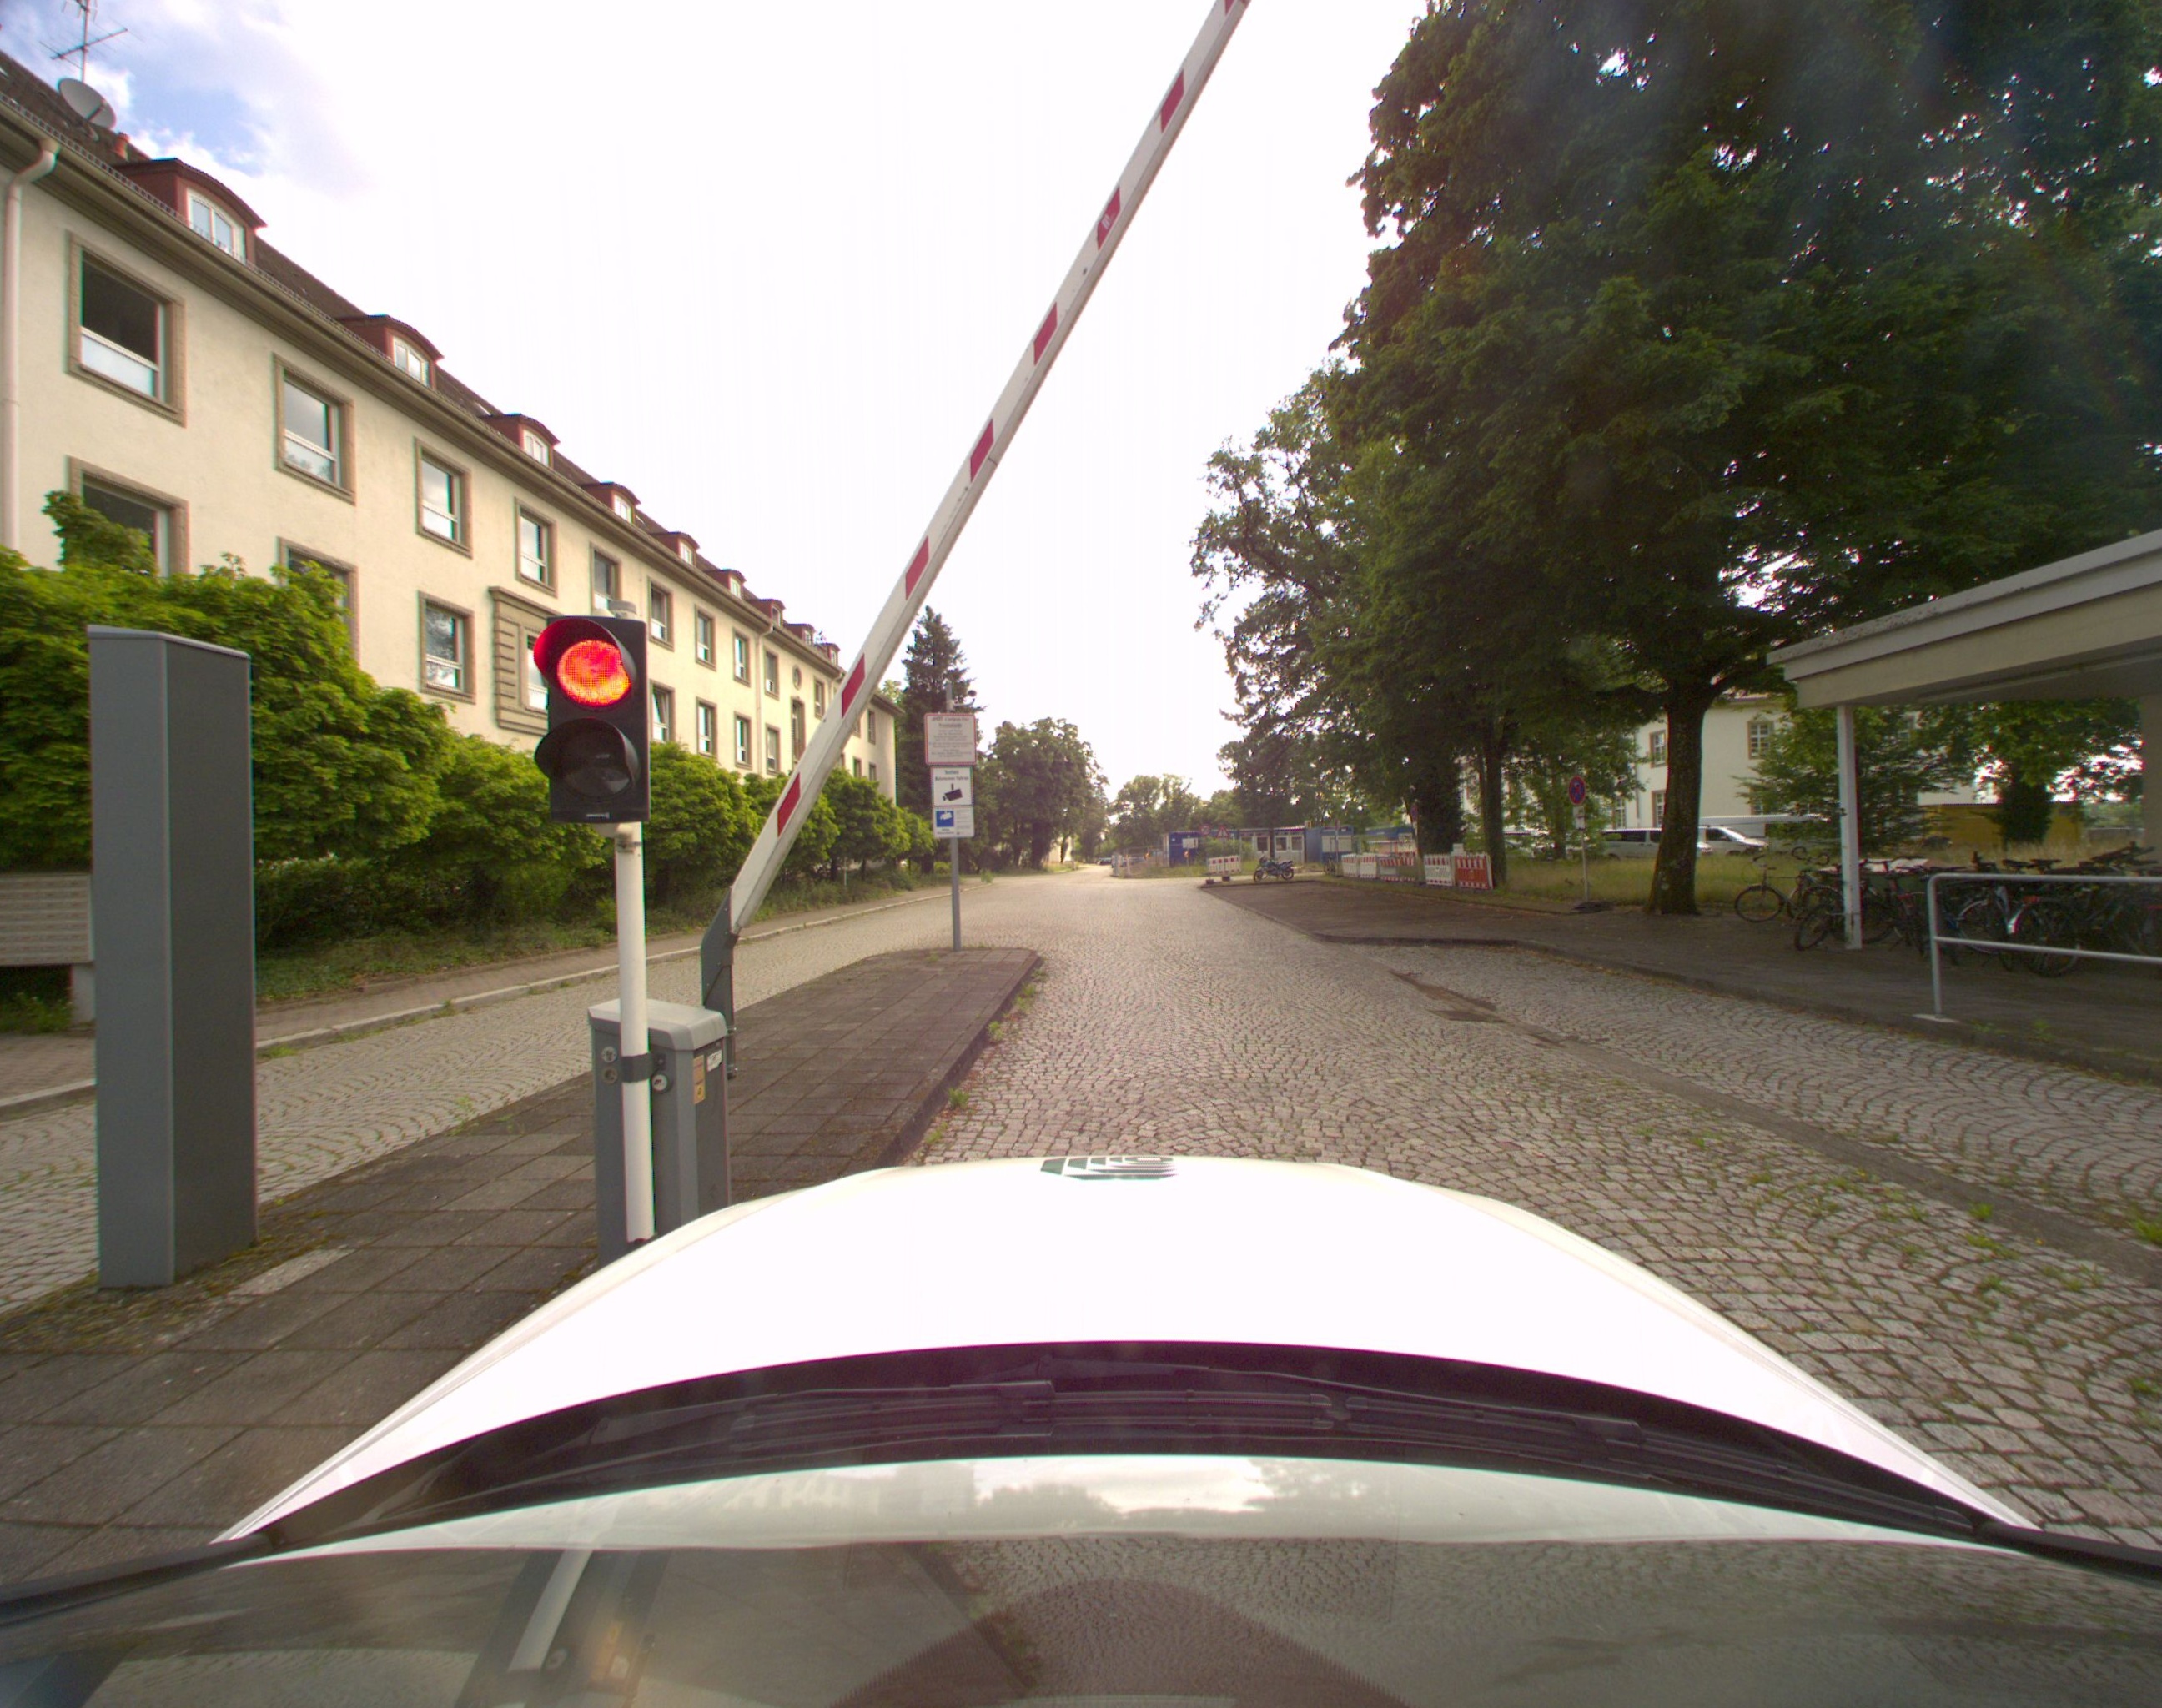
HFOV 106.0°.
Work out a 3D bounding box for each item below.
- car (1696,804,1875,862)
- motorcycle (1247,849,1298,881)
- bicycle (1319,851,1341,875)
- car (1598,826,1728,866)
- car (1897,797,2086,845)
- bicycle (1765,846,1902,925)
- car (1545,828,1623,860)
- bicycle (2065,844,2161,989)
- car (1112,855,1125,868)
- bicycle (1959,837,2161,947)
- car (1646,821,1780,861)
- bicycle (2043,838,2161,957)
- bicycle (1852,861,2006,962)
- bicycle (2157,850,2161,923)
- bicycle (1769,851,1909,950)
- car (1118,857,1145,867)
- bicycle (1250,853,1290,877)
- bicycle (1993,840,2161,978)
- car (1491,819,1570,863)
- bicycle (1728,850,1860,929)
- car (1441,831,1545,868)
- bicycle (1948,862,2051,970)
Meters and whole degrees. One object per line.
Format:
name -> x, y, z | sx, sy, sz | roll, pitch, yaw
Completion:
car -> 34.339, -0.930, 40.016 | 2.005, 2.578, 6.365 | 0, -1, -27
motorcycle -> 9.419, 0.532, 40.100 | 2.271, 1.485, 0.756 | -2, 0, -3
bicycle -> 12.653, 0.463, 41.460 | 0.639, 1.169, 1.907 | -2, 0, 4
car -> 28.414, -0.335, 39.935 | 2.003, 1.825, 4.834 | 0, -1, -25
car -> 42.119, -1.490, 37.802 | 6.116, 2.095, 2.214 | 0, -1, 3
bicycle -> 11.714, 0.463, 12.754 | 0.595, 1.117, 1.635 | -3, 0, 1
car -> 30.462, -0.540, 49.520 | 1.985, 1.825, 4.880 | 0, -1, 4
bicycle -> 9.851, 0.521, 7.377 | 1.630, 1.190, 0.418 | -3, 0, -11
car -> 6.011, 1.239, 131.449 | 1.987, 2.014, 4.091 | -1, -1, 1
bicycle -> 11.699, 0.438, 9.746 | 1.736, 1.165, 0.608 | -3, 0, -3
car -> 31.075, -0.597, 40.222 | 2.003, 1.825, 4.834 | 0, -1, -25
bicycle -> 11.525, 0.431, 8.722 | 1.736, 1.165, 0.608 | -3, 0, -3
bicycle -> 9.752, 0.622, 9.355 | 1.751, 0.976, 0.752 | -3, 0, -28
bicycle -> 9.879, 0.516, 6.764 | 1.630, 1.190, 0.418 | -3, 0, -11
bicycle -> 9.530, 0.569, 10.239 | 1.677, 1.108, 0.337 | -3, 0, -12
car -> 8.482, 1.351, 137.198 | 4.375, 1.510, 2.005 | -1, -1, 10
bicycle -> 9.887, 0.591, 42.593 | 1.882, 1.197, 0.659 | -2, 0, 21
bicycle -> 9.826, 0.508, 7.931 | 1.631, 1.190, 0.471 | -3, 0, -12
car -> 27.519, -0.721, 50.125 | 1.984, 2.556, 5.916 | 0, -1, 4
bicycle -> 11.089, 0.520, 12.740 | 0.595, 1.117, 1.635 | -3, 0, 1
car -> 23.121, -0.257, 45.826 | 4.838, 1.920, 1.908 | -2, 1, 3
bicycle -> 9.662, 0.620, 8.550 | 1.639, 0.976, 0.319 | -3, 0, -29
